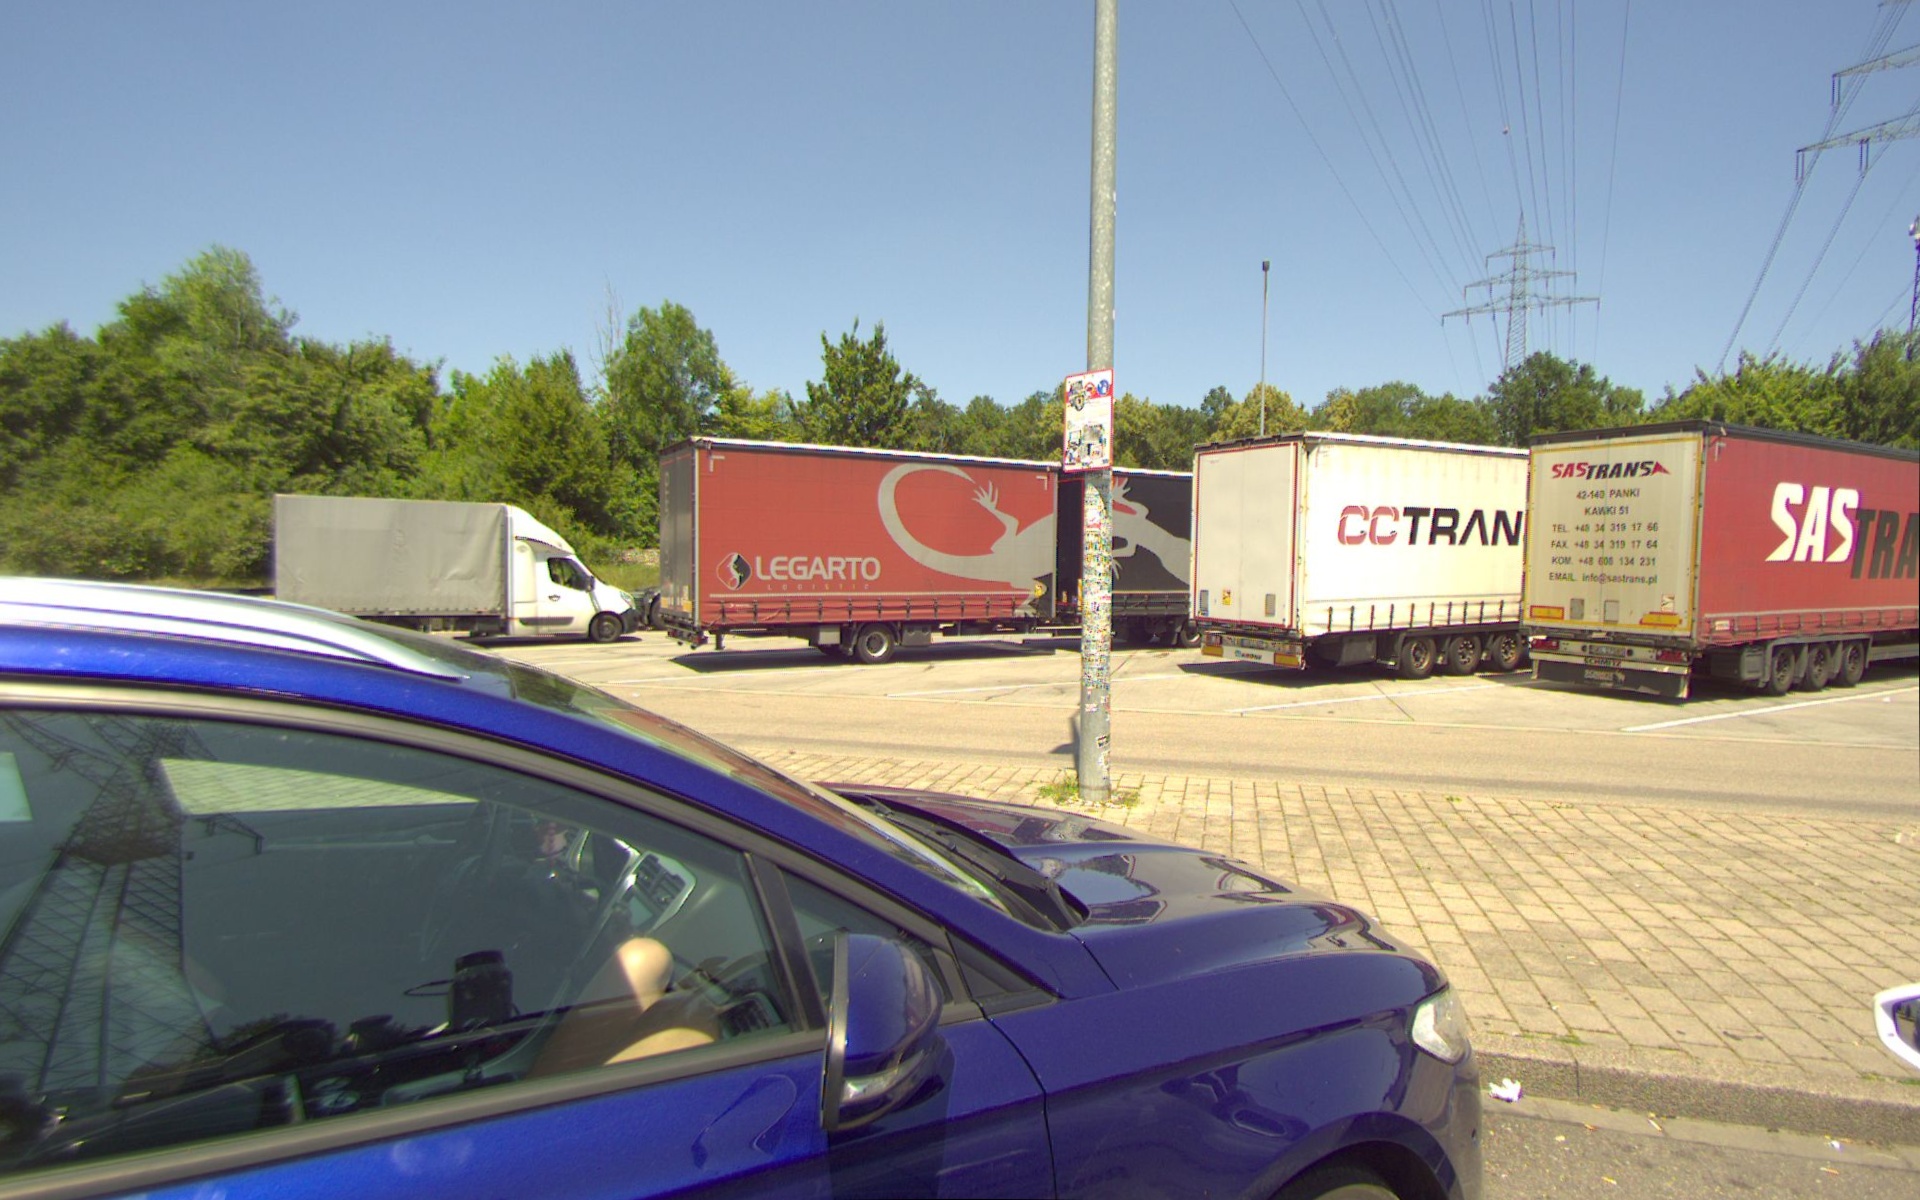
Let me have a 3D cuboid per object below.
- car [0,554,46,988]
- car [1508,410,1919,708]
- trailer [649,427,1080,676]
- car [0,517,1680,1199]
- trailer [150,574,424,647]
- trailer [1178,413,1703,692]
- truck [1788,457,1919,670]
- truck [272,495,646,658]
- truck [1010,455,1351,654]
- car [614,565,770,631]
[{"bbox_3d":[-4.611,0.558,2.123,3.700,1.432,1.595,0,0,-32],"label":"car"},{"bbox_3d":[15.218,-0.692,18.459,12.777,4.169,2.683,-1,3,-30],"label":"car"},{"bbox_3d":[-1.741,-0.928,20.511,8.389,4.248,2.800,-1,2,-30],"label":"trailer"},{"bbox_3d":[-0.985,0.672,1.471,4.380,1.464,1.771,0,0,-32],"label":"car"},{"bbox_3d":[-15.947,0.242,24.188,5.332,1.617,1.585,0,0,-30],"label":"trailer"},{"bbox_3d":[10.113,-0.881,20.073,12.786,4.325,2.800,-1,2,-31],"label":"trailer"},{"bbox_3d":[21.144,-0.772,21.870,6.163,4.169,2.683,-1,3,-30],"label":"truck"},{"bbox_3d":[-11.112,-0.585,22.881,7.219,3.277,2.308,-2,3,-29],"label":"truck"},{"bbox_3d":[5.605,-1.077,24.834,8.683,4.248,2.800,-1,2,-30],"label":"truck"},{"bbox_3d":[-7.602,-0.047,28.523,3.953,1.773,1.902,0,0,-30],"label":"car"}]
